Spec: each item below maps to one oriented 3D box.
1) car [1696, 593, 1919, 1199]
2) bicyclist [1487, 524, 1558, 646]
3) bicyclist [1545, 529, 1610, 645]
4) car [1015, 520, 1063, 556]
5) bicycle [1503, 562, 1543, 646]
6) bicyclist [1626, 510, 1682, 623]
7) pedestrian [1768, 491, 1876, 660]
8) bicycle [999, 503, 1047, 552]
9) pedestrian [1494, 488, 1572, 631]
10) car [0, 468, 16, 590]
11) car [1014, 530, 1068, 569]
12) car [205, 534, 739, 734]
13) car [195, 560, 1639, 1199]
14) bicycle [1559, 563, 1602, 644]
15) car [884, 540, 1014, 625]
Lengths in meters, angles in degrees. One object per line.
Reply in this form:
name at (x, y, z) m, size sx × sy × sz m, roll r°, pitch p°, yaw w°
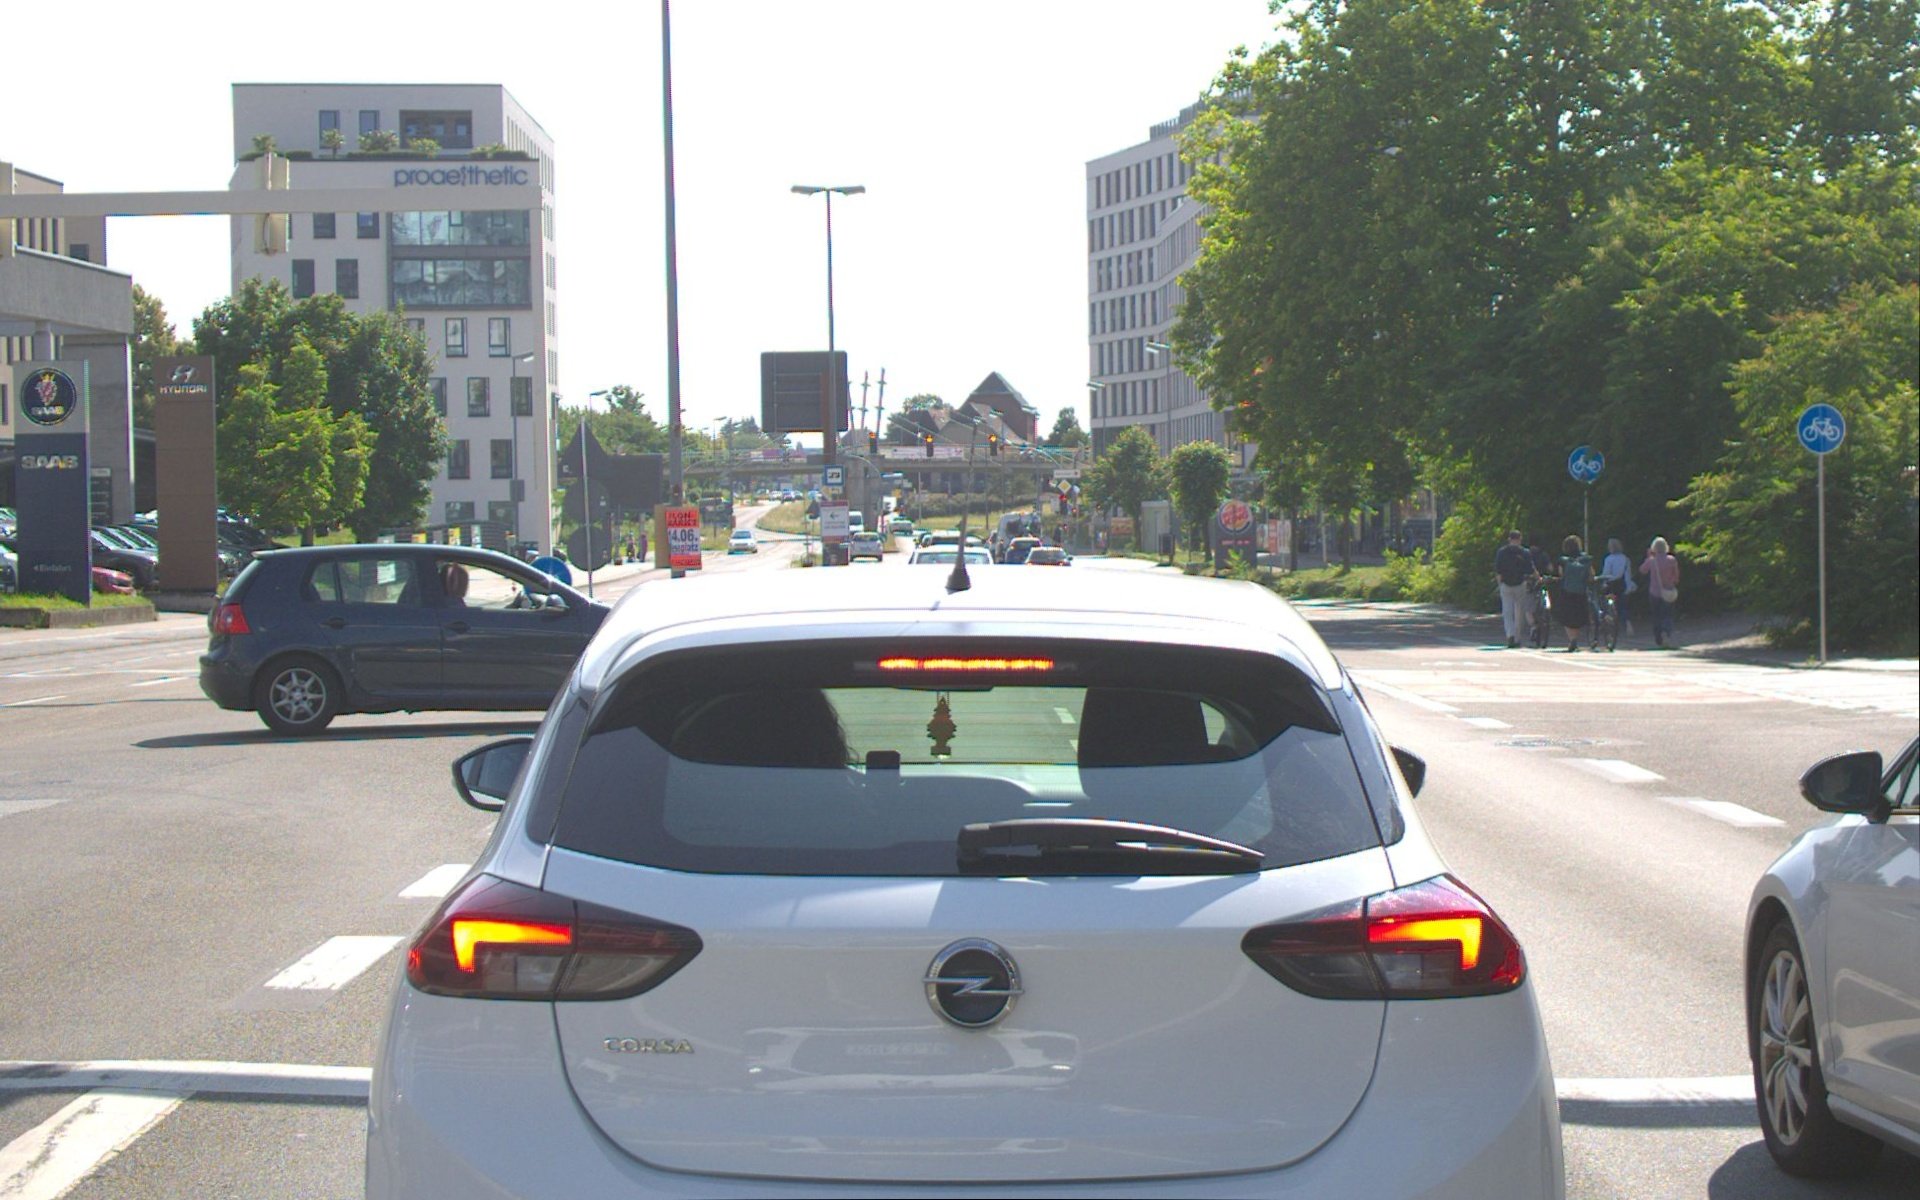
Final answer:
car at (2.861, 0.709, 6.865) m, size 1.807 × 1.424 × 4.000 m, roll -1°, pitch 1°, yaw -2°
bicyclist at (8.310, -0.228, 50.820) m, size 0.879 × 1.766 × 0.864 m, roll -1°, pitch 1°, yaw 0°
bicyclist at (8.841, -0.193, 49.233) m, size 0.688 × 1.637 × 0.777 m, roll -1°, pitch 1°, yaw -9°
car at (3.229, -2.534, 141.445) m, size 1.806 × 1.381 × 4.000 m, roll 1°, pitch 0°, yaw -1°
bicycle at (8.318, 0.051, 50.820) m, size 0.372 × 1.212 × 1.154 m, roll 1°, pitch 1°, yaw -1°
bicyclist at (10.083, -0.485, 49.930) m, size 0.652 × 1.631 × 0.659 m, roll 1°, pitch 0°, yaw 0°
pedestrian at (10.431, -0.299, 41.641) m, size 1.027 × 2.007 × 1.039 m, roll -1°, pitch 1°, yaw -1°
bicycle at (2.845, -3.276, 155.564) m, size 1.993 × 2.150 × 4.000 m, roll -1°, pitch 1°, yaw -1°
pedestrian at (9.041, -0.642, 54.325) m, size 1.027 × 2.231 × 1.039 m, roll -1°, pitch 1°, yaw -1°
car at (-22.556, -1.477, 73.028) m, size 4.357 × 2.592 × 2.000 m, roll -1°, pitch 1°, yaw 5°
car at (2.967, -1.844, 126.009) m, size 1.806 × 1.381 × 4.000 m, roll 1°, pitch 0°, yaw -1°
car at (-3.841, 0.232, 27.029) m, size 3.986 × 1.437 × 2.001 m, roll -1°, pitch 1°, yaw -10°
car at (-0.075, 0.694, 6.260) m, size 1.779 × 1.489 × 4.000 m, roll -1°, pitch 1°, yaw -1°
bicycle at (8.865, 0.052, 49.148) m, size 0.373 × 1.143 × 1.034 m, roll 1°, pitch 0°, yaw -3°
car at (-0.225, -0.294, 57.069) m, size 1.993 × 1.327 × 4.000 m, roll 1°, pitch 0°, yaw -2°
